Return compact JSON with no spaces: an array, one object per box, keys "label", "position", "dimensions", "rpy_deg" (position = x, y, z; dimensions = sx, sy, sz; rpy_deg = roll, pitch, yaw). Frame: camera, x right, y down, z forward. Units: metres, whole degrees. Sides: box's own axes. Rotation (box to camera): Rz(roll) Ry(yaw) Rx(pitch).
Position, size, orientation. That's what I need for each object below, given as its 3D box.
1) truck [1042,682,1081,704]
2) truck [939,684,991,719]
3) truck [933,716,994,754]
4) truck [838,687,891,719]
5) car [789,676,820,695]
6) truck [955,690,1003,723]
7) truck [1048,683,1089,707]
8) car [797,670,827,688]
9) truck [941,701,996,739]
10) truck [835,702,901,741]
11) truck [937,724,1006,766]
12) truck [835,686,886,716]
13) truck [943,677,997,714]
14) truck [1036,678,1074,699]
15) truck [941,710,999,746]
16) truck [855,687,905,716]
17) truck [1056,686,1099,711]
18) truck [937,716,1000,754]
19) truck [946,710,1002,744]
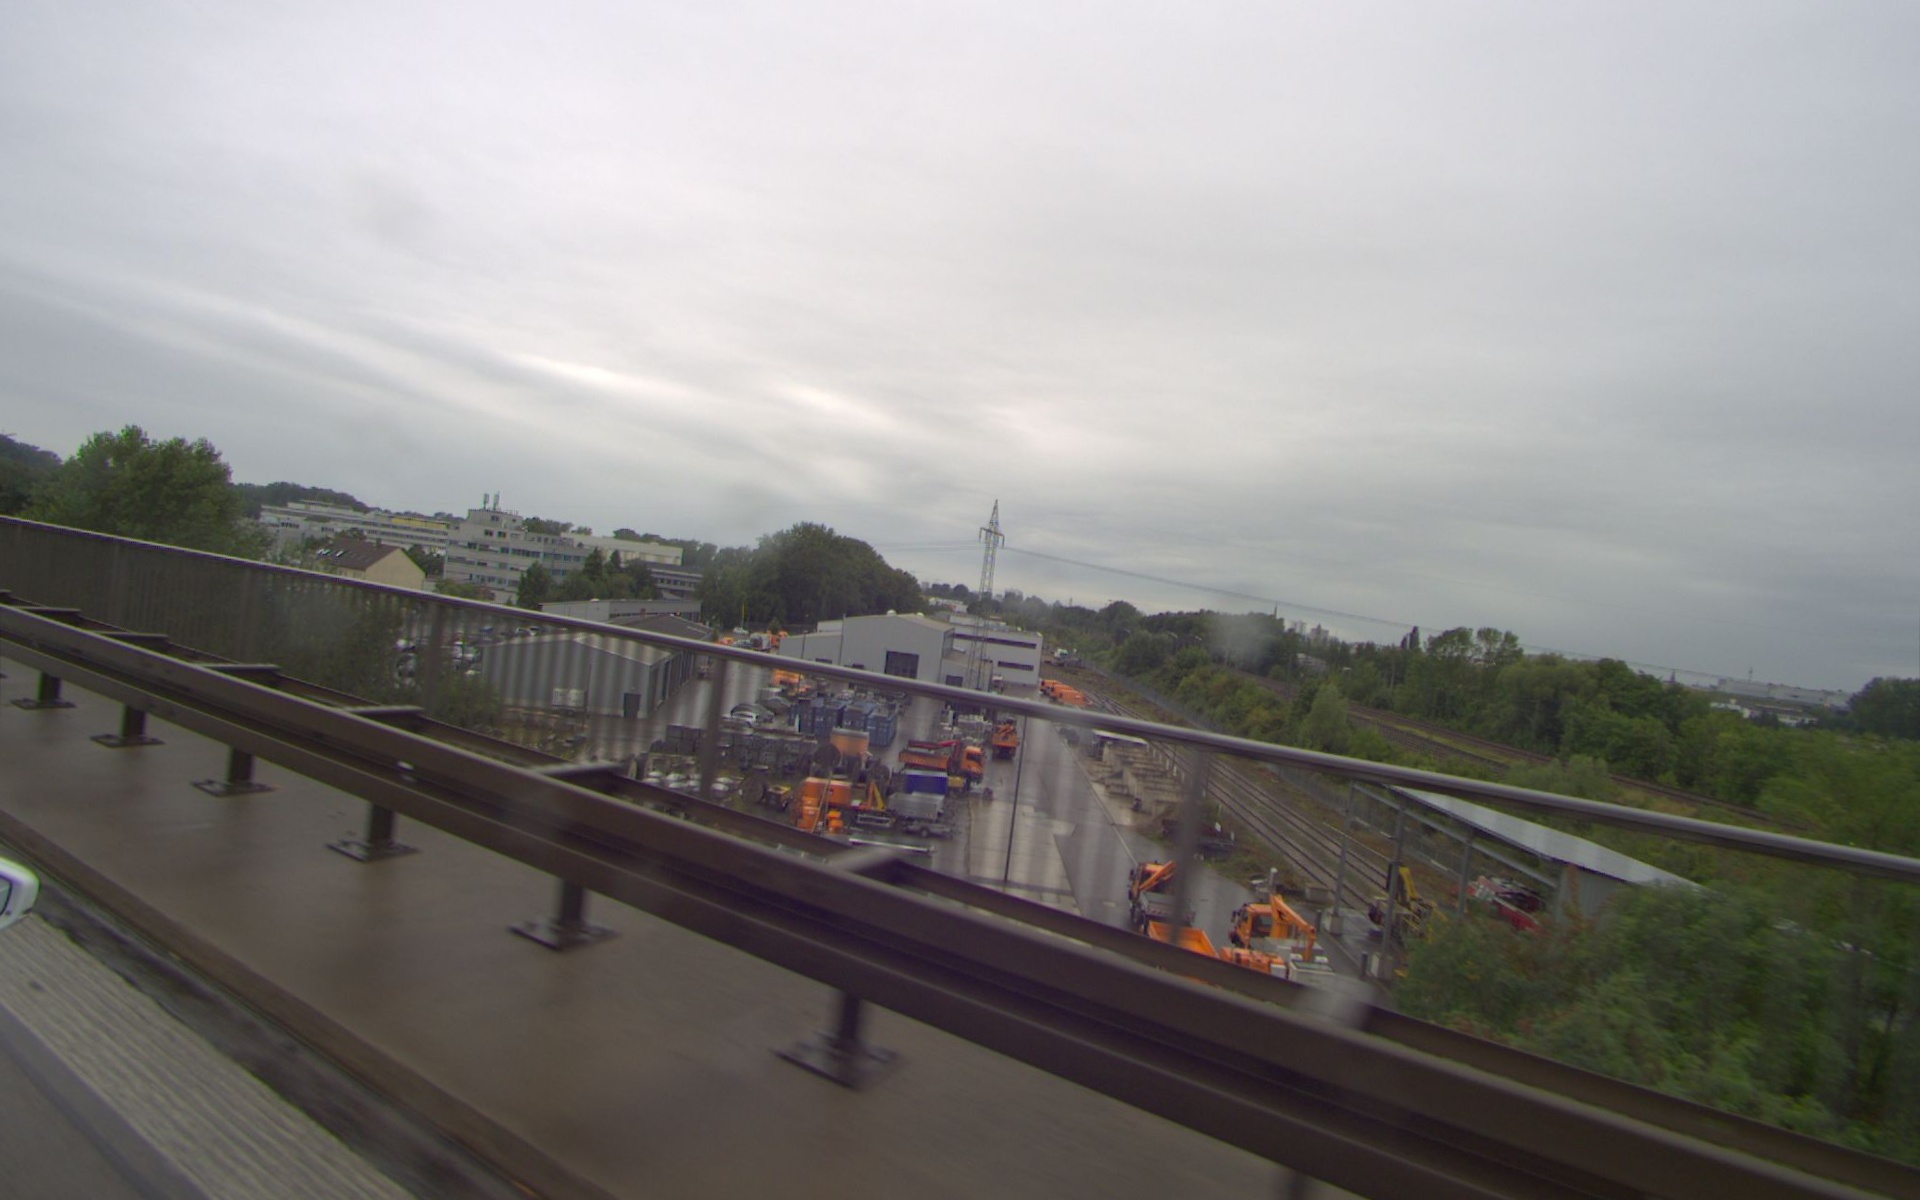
[{"label":"truck","position":[18.714,17.039,185.011],"dimensions":[6.488,3.221,2.099],"rpy_deg":[8,-2,-15]},{"label":"truck","position":[0.622,13.588,134.788],"dimensions":[6.469,3.854,2.105],"rpy_deg":[7,-1,-2]},{"label":"truck","position":[0.389,15.141,112.999],"dimensions":[6.469,3.221,2.105],"rpy_deg":[7,-2,-2]},{"label":"truck","position":[-12.678,13.687,133.824],"dimensions":[6.469,3.221,2.105],"rpy_deg":[7,-2,-2]},{"label":"car","position":[-21.503,11.877,139.355],"dimensions":[3.929,2.037,2.000],"rpy_deg":[7,-2,-4]},{"label":"truck","position":[2.692,15.410,145.579],"dimensions":[6.469,3.854,2.105],"rpy_deg":[7,-1,-2]},{"label":"truck","position":[19.022,16.657,176.392],"dimensions":[6.488,3.221,2.099],"rpy_deg":[8,-2,-15]},{"label":"car","position":[-21.390,11.399,145.401],"dimensions":[3.929,2.037,2.000],"rpy_deg":[7,-2,-4]},{"label":"truck","position":[1.074,15.038,126.561],"dimensions":[6.469,3.854,2.105],"rpy_deg":[7,-1,-2]},{"label":"truck","position":[-9.657,12.762,105.817],"dimensions":[6.469,3.221,2.105],"rpy_deg":[7,-2,-2]},{"label":"truck","position":[1.126,14.644,101.466],"dimensions":[6.469,3.221,2.105],"rpy_deg":[7,-2,-2]},{"label":"truck","position":[-13.474,13.730,137.097],"dimensions":[6.469,3.221,2.105],"rpy_deg":[7,-2,-2]},{"label":"truck","position":[1.294,12.202,129.148],"dimensions":[6.469,3.854,2.105],"rpy_deg":[7,-1,-2]},{"label":"truck","position":[17.801,16.600,188.587],"dimensions":[6.488,3.221,2.099],"rpy_deg":[8,-2,-15]},{"label":"truck","position":[1.135,15.146,119.211],"dimensions":[6.469,3.221,2.105],"rpy_deg":[7,-2,-2]},{"label":"truck","position":[-11.167,14.198,140.869],"dimensions":[6.469,3.221,2.105],"rpy_deg":[7,-2,-2]},{"label":"truck","position":[19.563,16.329,167.075],"dimensions":[6.488,3.221,2.099],"rpy_deg":[8,-2,-15]},{"label":"truck","position":[0.868,14.707,109.677],"dimensions":[6.469,3.221,2.105],"rpy_deg":[7,-2,-2]},{"label":"truck","position":[1.736,15.621,123.658],"dimensions":[6.469,3.221,2.105],"rpy_deg":[7,-2,-2]}]
